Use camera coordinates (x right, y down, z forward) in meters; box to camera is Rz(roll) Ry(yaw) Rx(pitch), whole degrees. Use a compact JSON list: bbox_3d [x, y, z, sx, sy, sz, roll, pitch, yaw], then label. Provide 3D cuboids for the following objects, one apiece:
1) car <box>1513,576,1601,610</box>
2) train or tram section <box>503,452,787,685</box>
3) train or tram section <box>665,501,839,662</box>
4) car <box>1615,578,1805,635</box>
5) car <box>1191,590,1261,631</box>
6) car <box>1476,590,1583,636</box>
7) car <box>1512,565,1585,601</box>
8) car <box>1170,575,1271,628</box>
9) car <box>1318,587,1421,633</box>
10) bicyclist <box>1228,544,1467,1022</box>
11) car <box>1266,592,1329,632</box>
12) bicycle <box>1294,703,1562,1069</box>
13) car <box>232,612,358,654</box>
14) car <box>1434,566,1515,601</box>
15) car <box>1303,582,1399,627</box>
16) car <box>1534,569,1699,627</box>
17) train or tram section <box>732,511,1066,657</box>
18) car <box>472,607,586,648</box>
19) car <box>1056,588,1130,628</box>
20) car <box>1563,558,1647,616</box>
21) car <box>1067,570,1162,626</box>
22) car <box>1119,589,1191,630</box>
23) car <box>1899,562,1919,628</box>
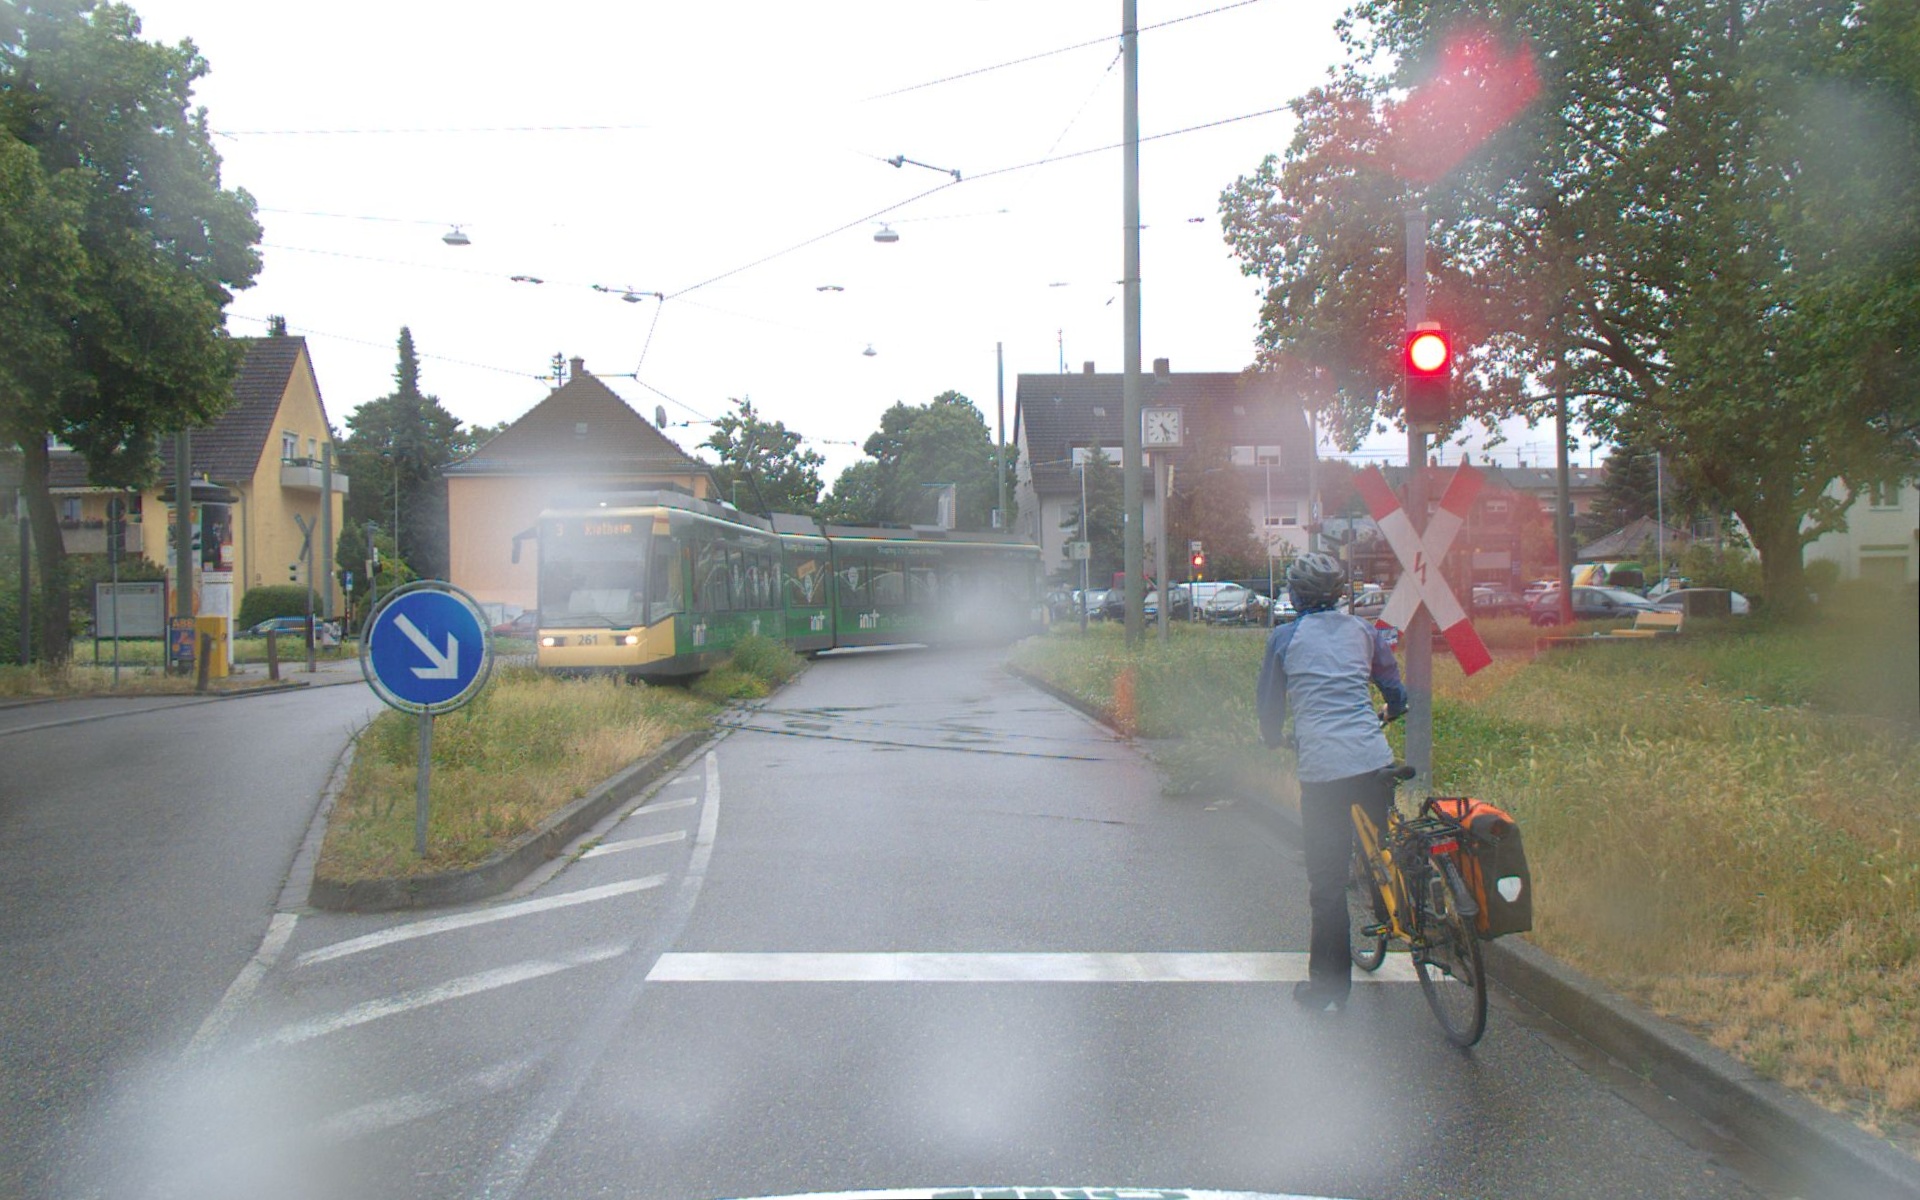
[{"bbox_3d":[31.056,-0.351,86.070,3.905,1.668,1.846,1,0,-1],"label":"car"},{"bbox_3d":[-5.593,-0.451,32.089,2.703,3.615,12.206,-1,0,2],"label":"train or tram section"},{"bbox_3d":[-4.924,-0.390,40.102,2.701,3.615,4.992,-1,-1,11],"label":"train or tram section"},{"bbox_3d":[18.465,0.154,40.856,3.902,1.308,1.847,1,0,6],"label":"car"},{"bbox_3d":[11.392,0.465,70.733,1.954,1.668,3.997,1,0,24],"label":"car"},{"bbox_3d":[22.603,0.514,65.737,3.609,1.731,1.890,1,-1,0],"label":"car"},{"bbox_3d":[34.231,-0.975,96.295,1.963,2.049,3.978,1,0,-19],"label":"car"},{"bbox_3d":[12.009,0.070,76.407,4.307,2.365,1.999,1,-1,-3],"label":"car"},{"bbox_3d":[16.146,0.399,65.336,3.609,1.731,1.890,1,-1,0],"label":"car"},{"bbox_3d":[1.420,0.641,6.181,0.653,1.654,0.852,1,-1,-2],"label":"bicyclist"},{"bbox_3d":[14.554,0.522,71.171,1.804,1.668,3.997,1,0,24],"label":"car"},{"bbox_3d":[1.650,0.953,6.069,0.437,1.022,1.727,-1,0,-2],"label":"bicycle"},{"bbox_3d":[-24.447,1.207,60.948,3.911,1.482,1.831,1,0,-7],"label":"car"},{"bbox_3d":[28.533,-0.900,91.807,3.904,1.822,2.000,1,0,2],"label":"car"},{"bbox_3d":[18.085,0.234,76.536,3.907,1.985,1.999,1,-1,-3],"label":"car"},{"bbox_3d":[18.012,-0.069,45.492,3.848,1.522,1.798,1,-1,43],"label":"car"},{"bbox_3d":[-1.256,-0.463,47.260,2.710,3.615,13.102,-1,0,31],"label":"train or tram section"},{"bbox_3d":[-16.192,1.024,62.320,3.911,1.482,1.831,1,0,-7],"label":"car"},{"bbox_3d":[5.794,0.373,71.596,1.954,1.668,3.997,1,0,24],"label":"car"},{"bbox_3d":[28.817,-0.559,74.023,1.953,2.485,4.352,1,0,-2],"label":"car"},{"bbox_3d":[7.470,-0.110,79.905,4.301,2.610,2.001,1,-1,14],"label":"car"},{"bbox_3d":[8.339,0.410,70.467,1.954,1.668,3.997,1,0,24],"label":"car"},{"bbox_3d":[28.134,-0.109,45.525,3.703,1.829,1.798,1,-1,43],"label":"car"}]
